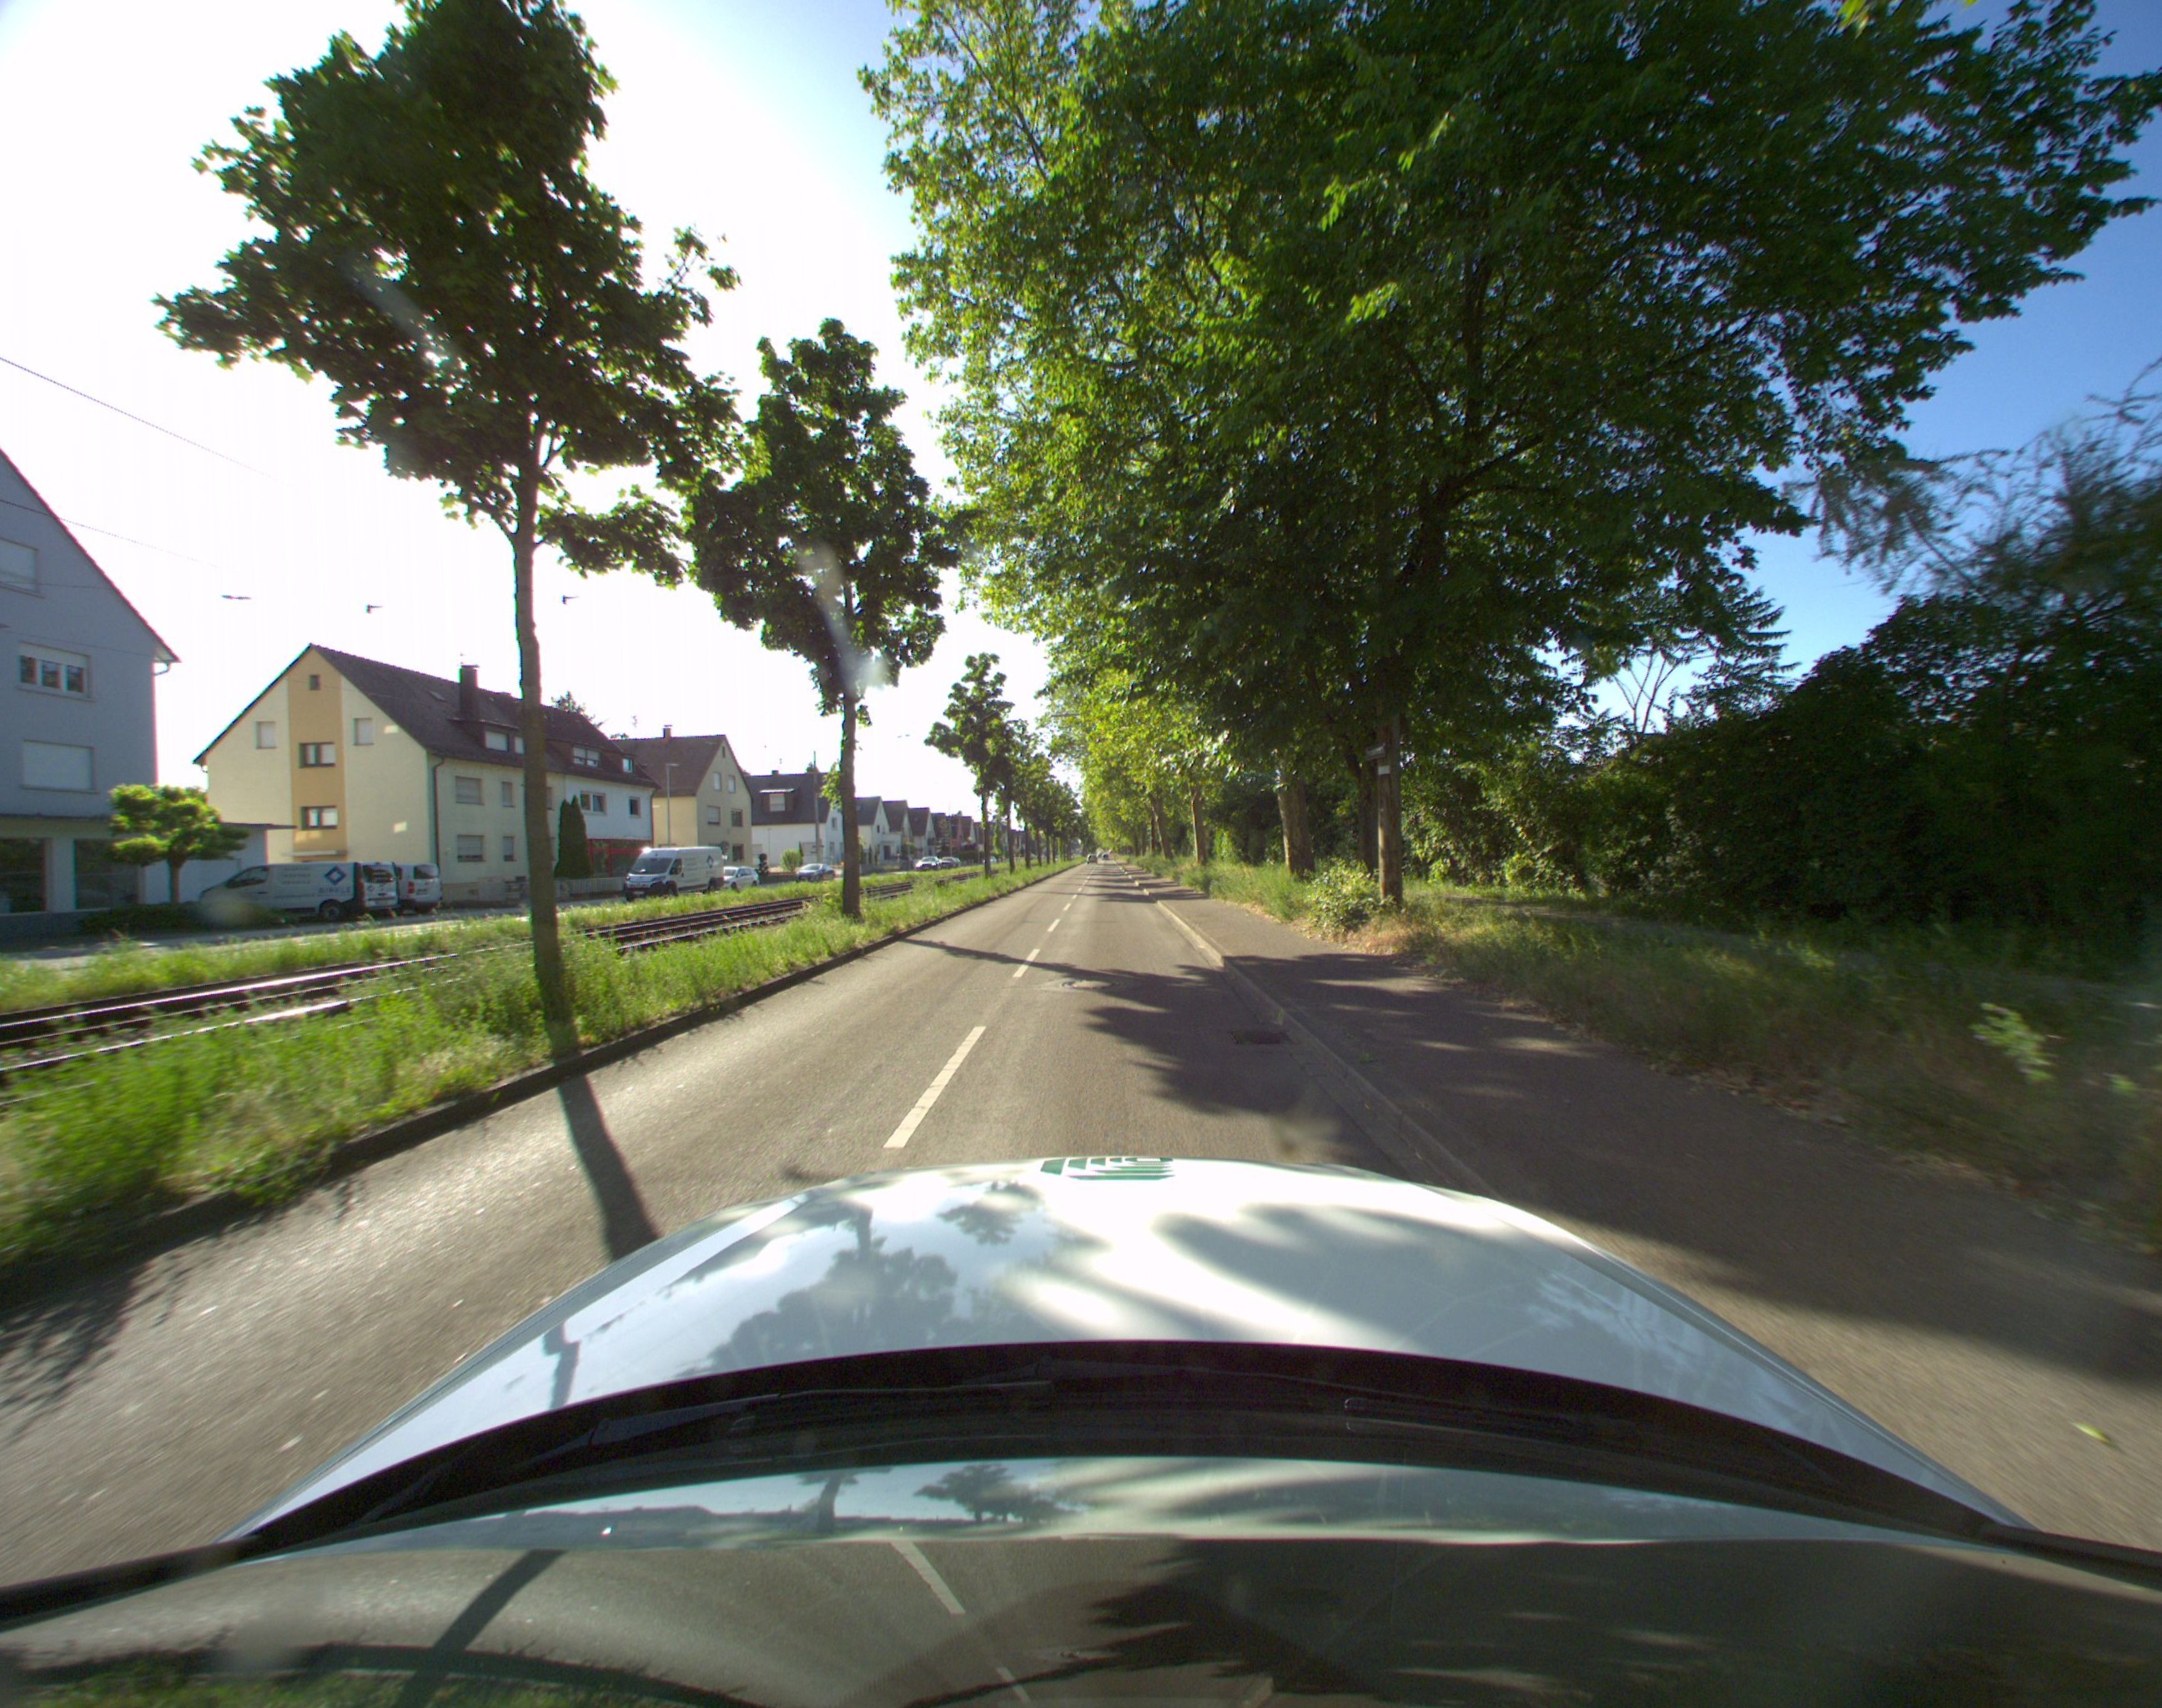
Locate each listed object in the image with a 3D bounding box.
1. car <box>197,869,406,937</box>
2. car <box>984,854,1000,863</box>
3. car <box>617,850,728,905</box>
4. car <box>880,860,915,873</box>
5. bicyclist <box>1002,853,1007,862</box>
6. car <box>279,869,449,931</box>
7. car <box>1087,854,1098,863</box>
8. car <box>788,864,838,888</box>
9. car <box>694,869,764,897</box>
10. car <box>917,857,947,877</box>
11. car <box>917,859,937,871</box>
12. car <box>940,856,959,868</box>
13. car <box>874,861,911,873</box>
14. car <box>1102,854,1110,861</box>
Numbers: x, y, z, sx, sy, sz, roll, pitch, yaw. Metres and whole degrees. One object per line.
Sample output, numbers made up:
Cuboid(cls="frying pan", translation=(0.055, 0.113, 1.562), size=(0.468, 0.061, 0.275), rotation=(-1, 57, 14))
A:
Cuboid(cls="car", translation=(-25.619, 1.563, 26.945), size=(4.616, 1.945, 1.994), rotation=(-2, 0, -9))
Cuboid(cls="car", translation=(-16.769, 0.885, 153.647), size=(1.984, 1.599, 4.738), rotation=(-1, 0, 5))
Cuboid(cls="car", translation=(-20.032, 1.082, 40.405), size=(1.986, 2.459, 6.676), rotation=(-1, 0, 1))
Cuboid(cls="car", translation=(-23.791, 1.622, 105.618), size=(3.977, 1.669, 1.998), rotation=(-1, 0, -3))
Cuboid(cls="bicyclist", translation=(-14.469, 0.722, 153.886), size=(0.686, 1.652, 0.882), rotation=(-2, 0, 1))
Cuboid(cls="car", translation=(-25.821, 1.629, 29.484), size=(4.137, 1.952, 1.994), rotation=(-2, 0, -9))
Cuboid(cls="car", translation=(1.801, 0.711, 127.154), size=(1.732, 1.401, 3.278), rotation=(-1, 0, 1))
Cuboid(cls="car", translation=(-19.591, 1.562, 59.720), size=(1.986, 1.581, 4.501), rotation=(-1, 0, 2))
Cuboid(cls="car", translation=(-19.825, 1.604, 46.098), size=(1.818, 1.412, 4.659), rotation=(-1, 0, 1))
Cuboid(cls="car", translation=(-14.830, 1.295, 81.194), size=(1.908, 1.883, 4.527), rotation=(-1, 0, 3))
Cuboid(cls="car", translation=(-18.432, 1.291, 97.682), size=(1.487, 1.326, 4.003), rotation=(-1, 0, 3))
Cuboid(cls="car", translation=(-17.726, 1.121, 110.071), size=(1.637, 1.568, 4.389), rotation=(-1, 0, 3))
Cuboid(cls="car", translation=(-23.393, 1.623, 101.146), size=(4.202, 1.463, 1.936), rotation=(-1, 0, -3))
Cuboid(cls="car", translation=(5.938, 0.782, 192.806), size=(1.754, 1.513, 3.278), rotation=(-1, 0, 2))
